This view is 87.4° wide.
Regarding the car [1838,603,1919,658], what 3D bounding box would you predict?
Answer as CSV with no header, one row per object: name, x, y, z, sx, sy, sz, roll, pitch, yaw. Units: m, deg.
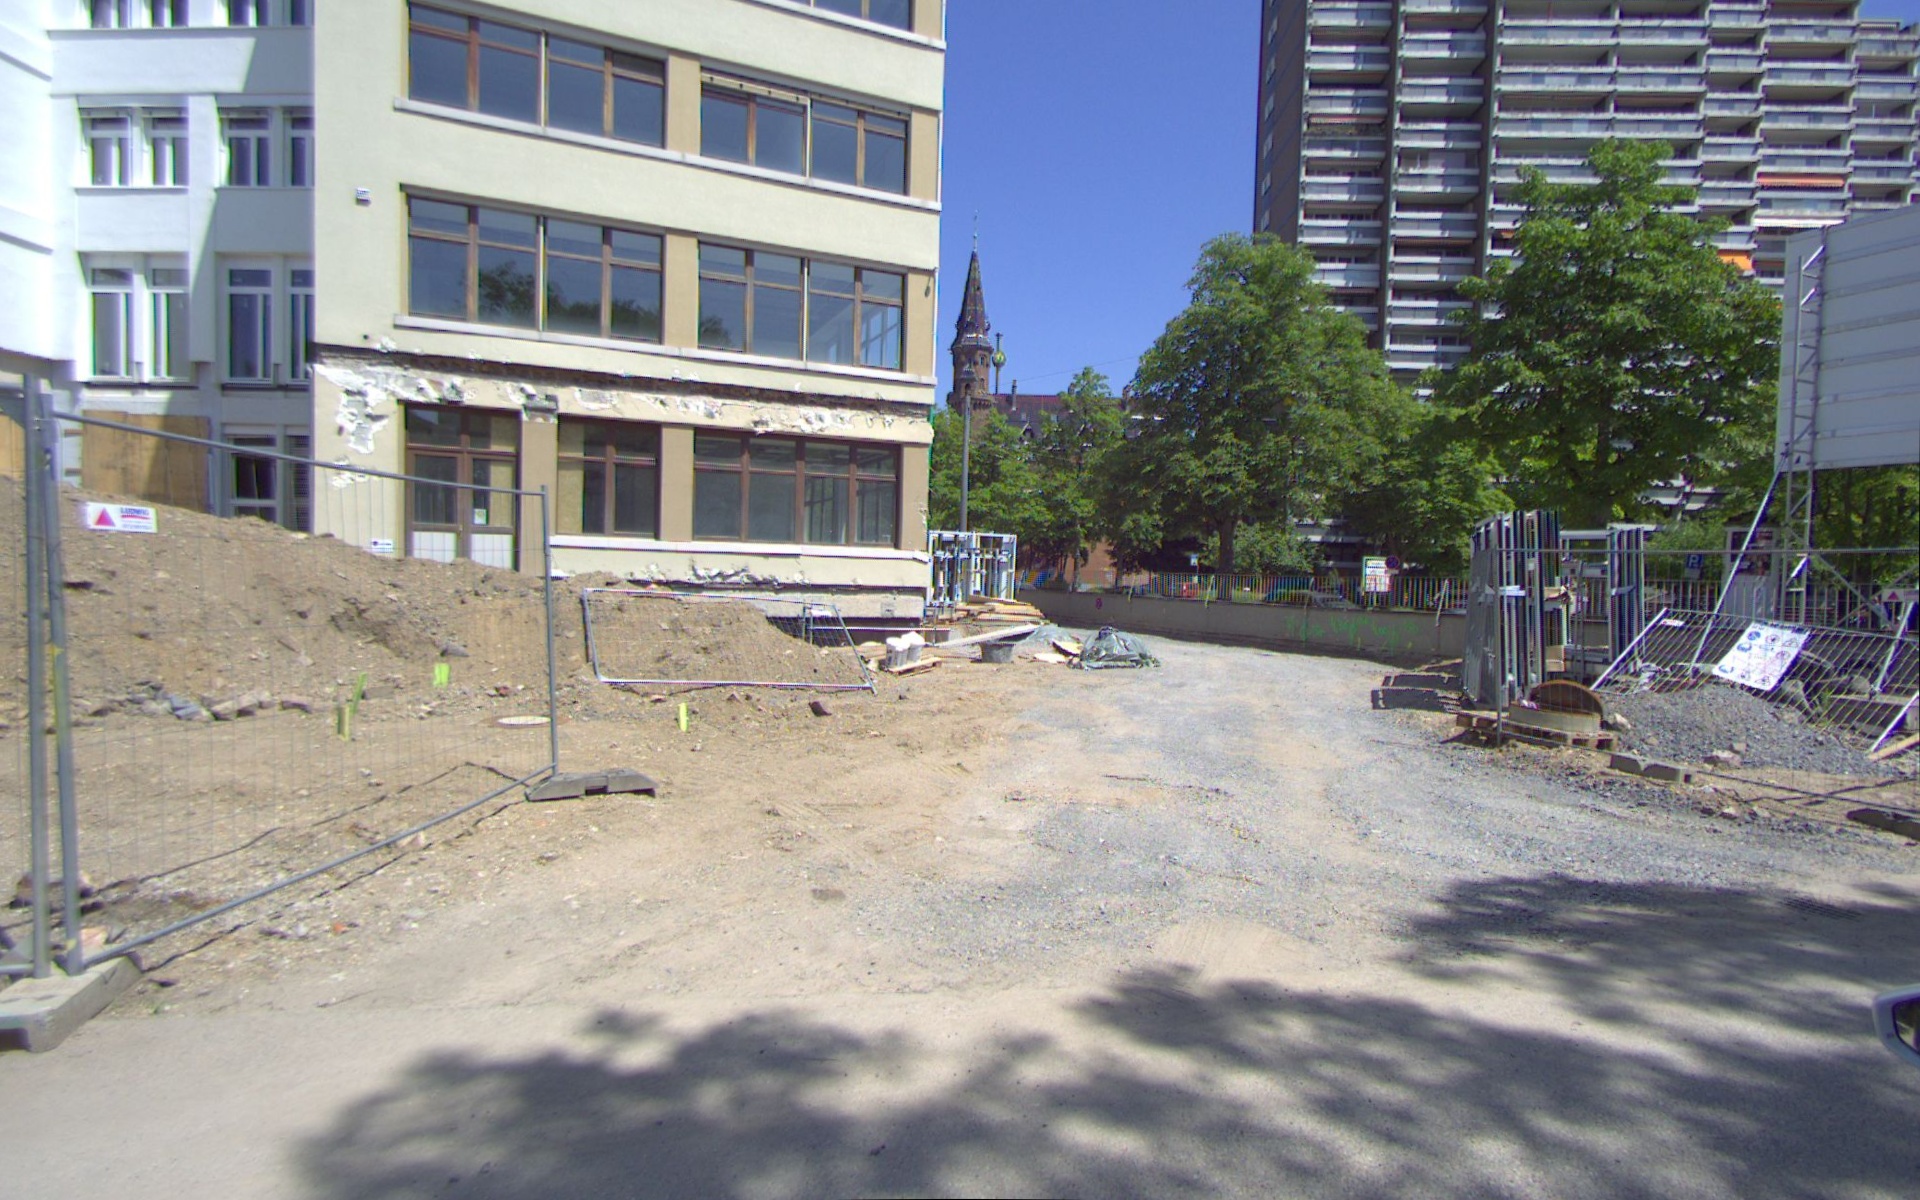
car,27.281,0.863,28.956,1.606,1.483,3.678,2,1,18

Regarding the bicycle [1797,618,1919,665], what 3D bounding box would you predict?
bicycle,25.145,1.138,28.191,0.776,1.167,2.422,1,1,-28

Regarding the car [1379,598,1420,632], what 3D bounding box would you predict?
car,20.117,0.659,45.960,1.607,1.406,3.675,2,1,24

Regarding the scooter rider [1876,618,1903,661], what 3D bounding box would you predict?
scooter rider,24.968,1.062,26.986,0.354,1.149,0.414,1,1,-28

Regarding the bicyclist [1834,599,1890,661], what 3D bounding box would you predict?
bicyclist,25.215,0.824,28.092,0.848,1.688,0.894,1,1,-28

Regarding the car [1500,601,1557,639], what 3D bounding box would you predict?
car,23.124,0.780,40.955,1.607,1.406,3.675,2,1,24

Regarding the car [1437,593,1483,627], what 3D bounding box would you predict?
car,21.917,0.413,44.104,1.607,1.406,3.675,2,1,24

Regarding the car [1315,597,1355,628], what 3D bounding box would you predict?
car,18.529,0.582,49.520,1.607,1.406,3.675,2,1,24

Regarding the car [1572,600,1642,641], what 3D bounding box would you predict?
car,24.242,0.742,37.752,1.607,1.406,3.675,2,1,24
